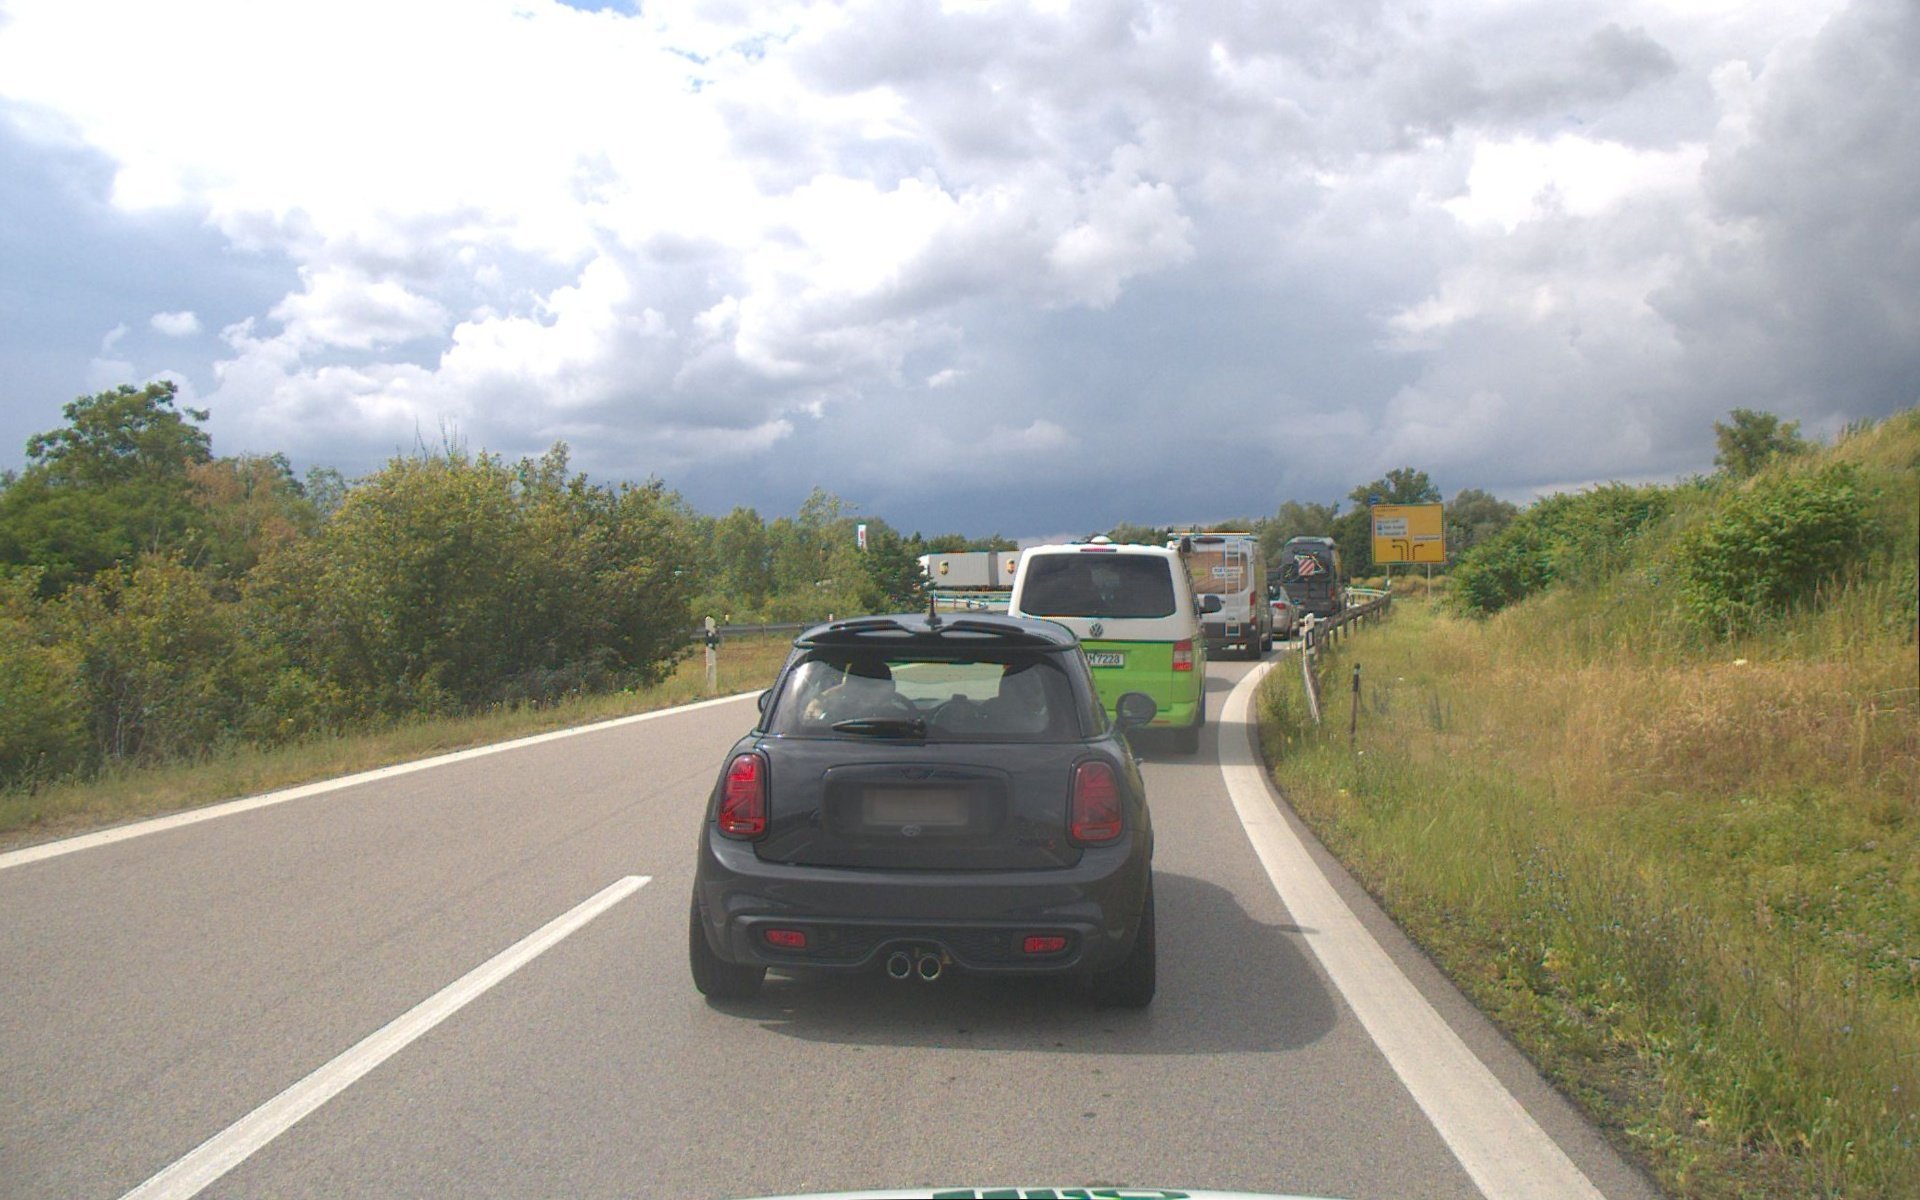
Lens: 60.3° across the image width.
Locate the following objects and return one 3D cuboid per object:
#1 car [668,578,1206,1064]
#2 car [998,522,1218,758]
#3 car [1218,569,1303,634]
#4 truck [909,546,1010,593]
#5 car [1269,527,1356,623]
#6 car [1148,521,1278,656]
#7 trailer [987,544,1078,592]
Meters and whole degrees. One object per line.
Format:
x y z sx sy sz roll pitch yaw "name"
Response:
0.023 0.707 7.307 1.762 1.573 3.740 0 0 3 "car"
1.634 0.345 16.813 1.870 2.081 4.184 0 0 10 "car"
8.244 0.050 45.120 1.951 1.671 3.931 1 0 15 "car"
-0.156 -2.705 148.368 9.858 4.045 2.826 1 0 44 "truck"
12.230 -0.793 57.043 2.262 3.122 6.665 1 0 18 "car"
5.558 -0.211 35.735 2.165 2.668 5.538 1 0 15 "car"
6.132 -2.670 141.550 3.013 3.966 8.658 1 0 -37 "trailer"
